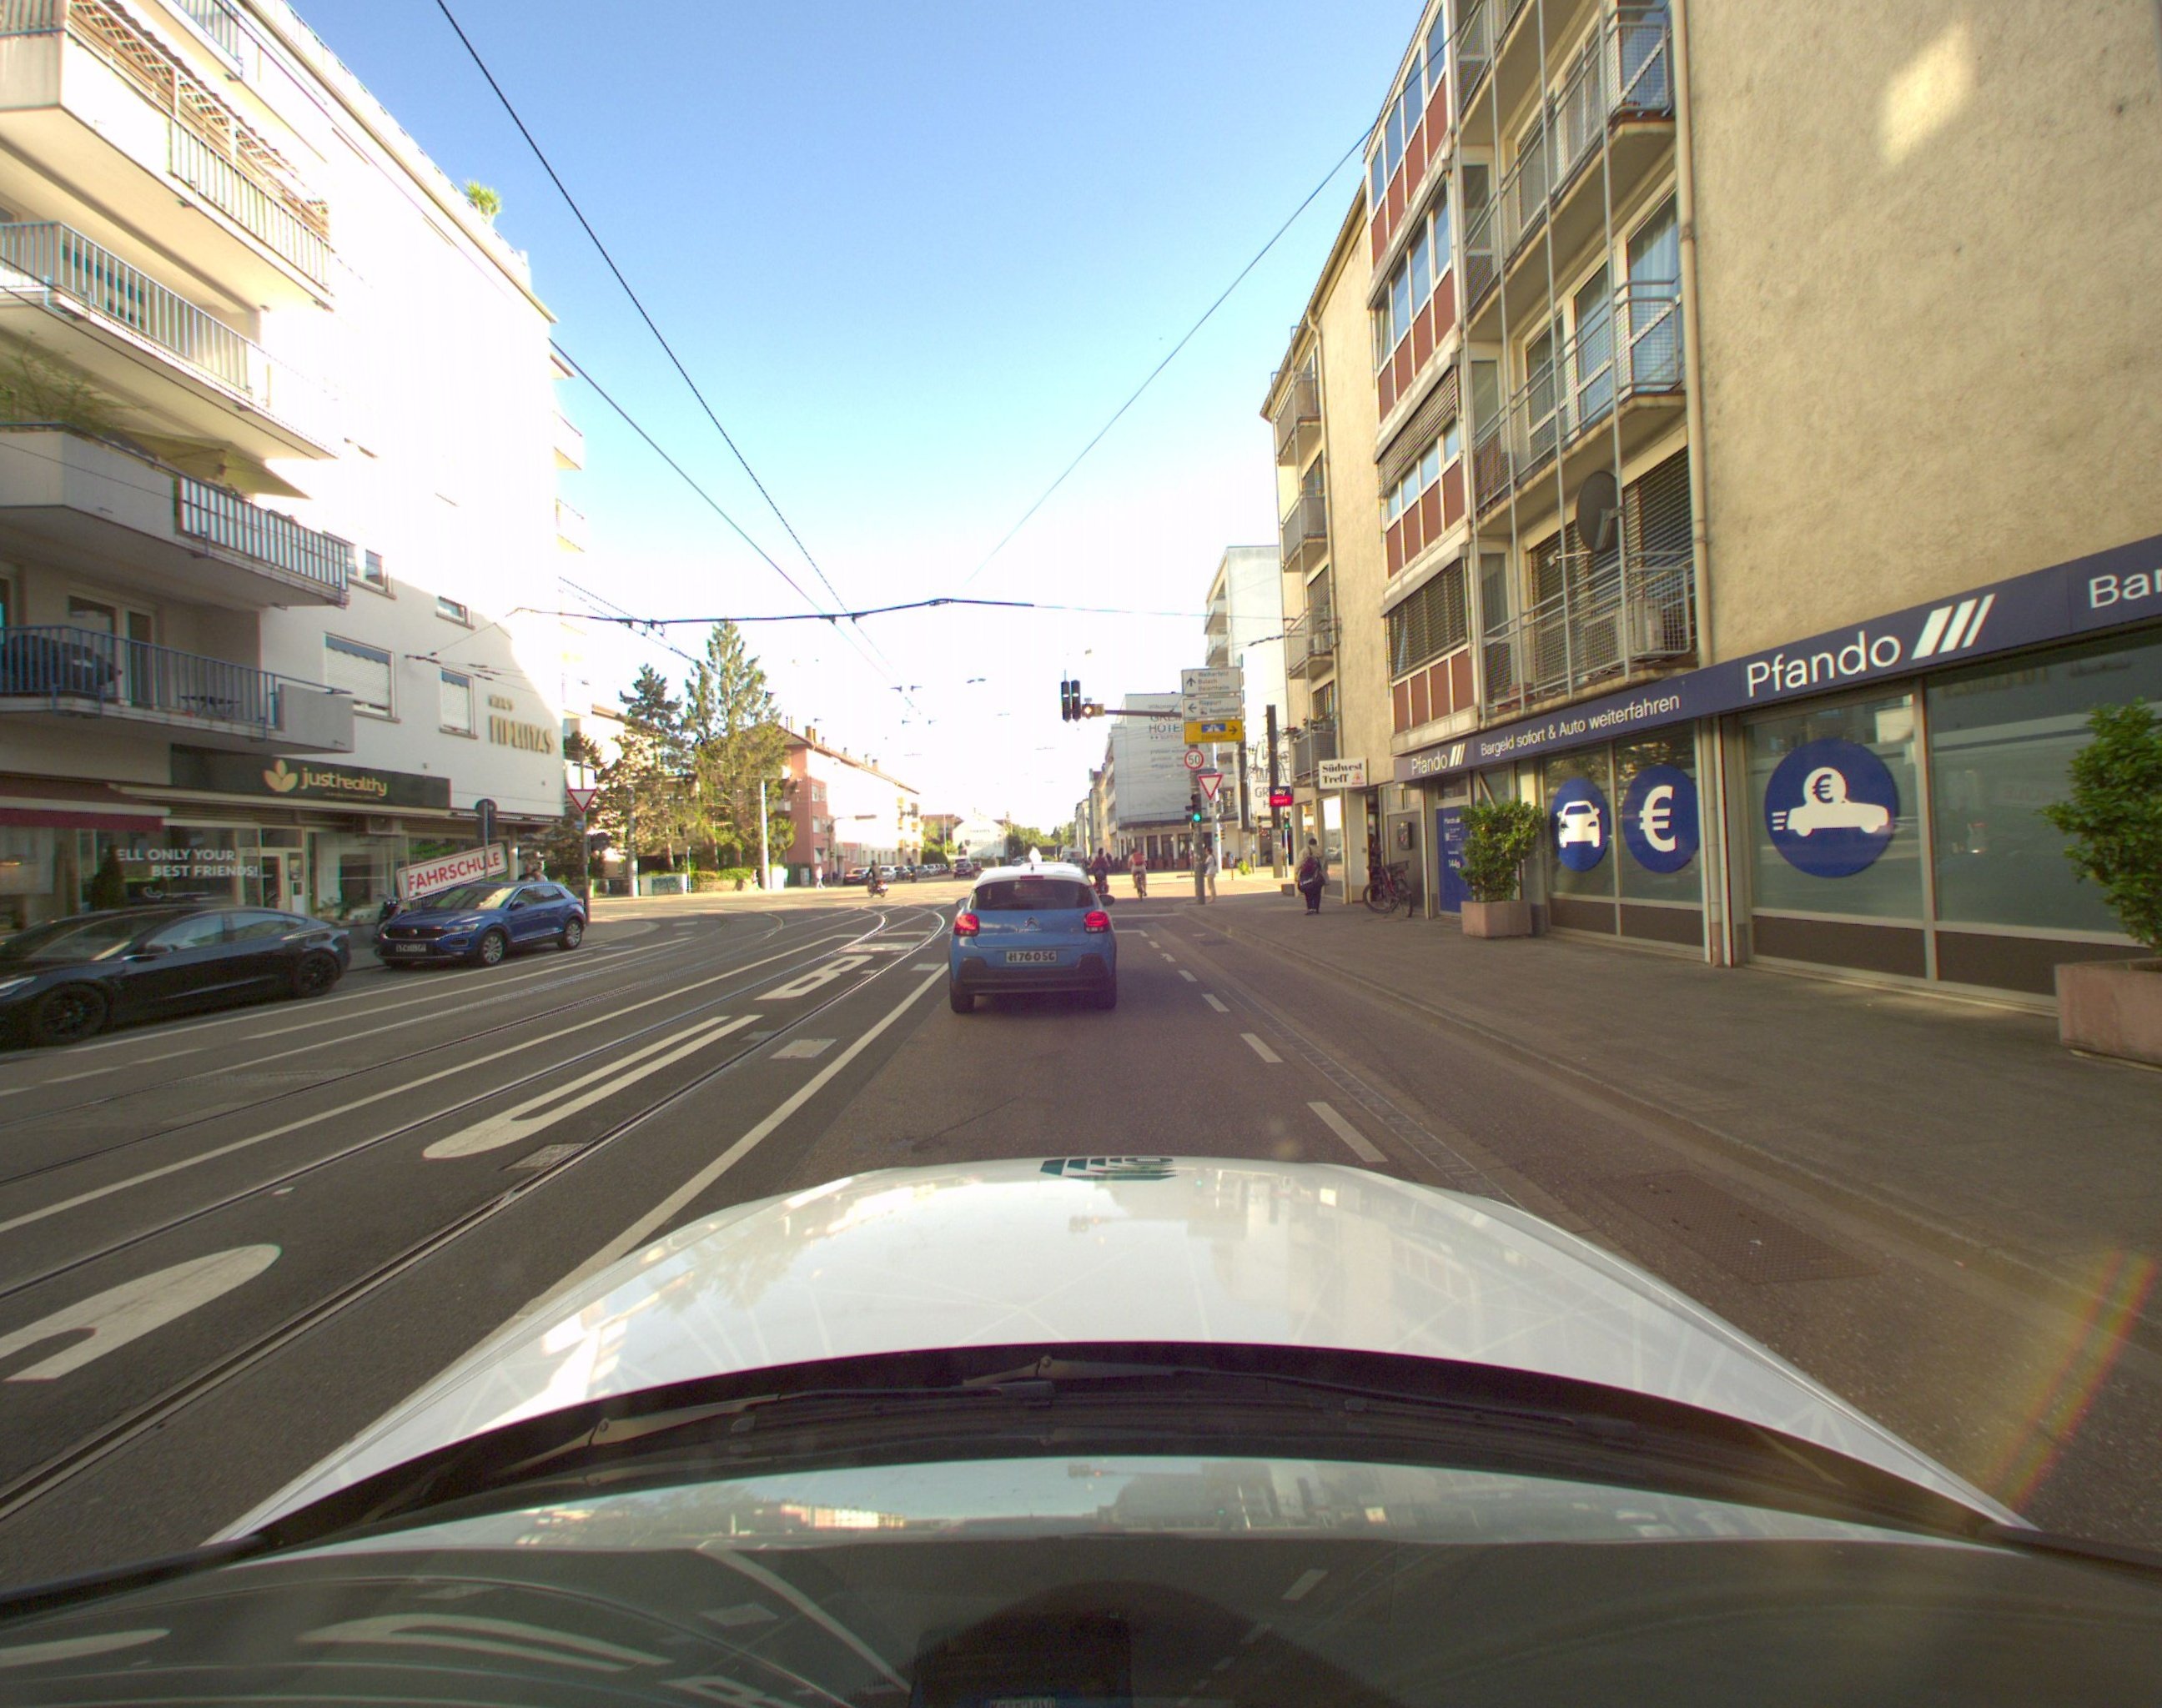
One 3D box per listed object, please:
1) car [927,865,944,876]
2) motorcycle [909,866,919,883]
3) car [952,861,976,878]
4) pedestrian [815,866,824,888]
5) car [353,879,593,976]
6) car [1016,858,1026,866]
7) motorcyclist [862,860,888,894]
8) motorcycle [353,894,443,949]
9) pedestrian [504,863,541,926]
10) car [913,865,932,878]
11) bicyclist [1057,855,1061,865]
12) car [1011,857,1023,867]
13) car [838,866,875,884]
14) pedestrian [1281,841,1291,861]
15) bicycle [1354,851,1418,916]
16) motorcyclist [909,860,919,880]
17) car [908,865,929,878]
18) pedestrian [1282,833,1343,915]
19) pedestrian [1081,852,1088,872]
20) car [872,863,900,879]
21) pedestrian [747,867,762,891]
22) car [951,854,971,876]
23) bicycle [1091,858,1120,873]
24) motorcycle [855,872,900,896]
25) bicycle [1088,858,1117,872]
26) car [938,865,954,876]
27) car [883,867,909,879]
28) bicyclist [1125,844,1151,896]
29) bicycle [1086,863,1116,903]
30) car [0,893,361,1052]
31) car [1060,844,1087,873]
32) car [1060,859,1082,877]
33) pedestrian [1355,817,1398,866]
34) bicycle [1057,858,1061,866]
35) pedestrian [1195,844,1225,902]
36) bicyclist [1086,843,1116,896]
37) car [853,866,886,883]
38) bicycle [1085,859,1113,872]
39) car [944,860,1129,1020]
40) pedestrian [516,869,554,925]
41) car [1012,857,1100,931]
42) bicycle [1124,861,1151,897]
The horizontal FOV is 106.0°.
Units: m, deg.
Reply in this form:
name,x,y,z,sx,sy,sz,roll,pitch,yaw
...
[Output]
name,x,y,z,sx,sy,sz,roll,pitch,yaw
car,-20.155,2.289,113.070,1.865,1.576,3.995,0,-1,-3
motorcycle,-13.052,1.612,63.786,0.712,1.220,1.957,-2,-2,-12
car,-10.934,1.425,76.514,1.775,1.486,3.824,-3,-1,-3
pedestrian,-19.604,1.721,61.077,0.516,1.568,0.572,0,-1,-7
car,-11.793,1.329,16.222,1.765,1.503,4.233,0,0,-3
car,-13.916,1.917,188.332,2.068,1.762,5.034,0,-1,-1
motorcyclist,-9.202,1.005,36.431,0.720,1.488,0.863,-1,-1,32
motorcycle,-15.783,1.542,18.885,0.605,1.134,1.795,0,-1,-1
pedestrian,-17.216,1.252,25.103,0.568,1.900,0.742,-2,-3,16
car,-20.057,2.184,103.240,1.865,1.576,3.995,0,-1,-3
bicyclist,-4.662,1.274,171.874,0.787,2.025,0.987,0,-1,3
car,-13.292,1.648,170.445,2.211,1.932,4.947,0,-1,-1
car,-19.120,1.813,69.588,2.149,1.432,4.435,0,-2,-3
pedestrian,16.362,-0.251,64.954,0.604,1.608,0.673,-1,-1,29
bicycle,5.795,0.540,15.566,0.495,1.161,1.776,-2,-1,-1
motorcyclist,-13.068,1.266,63.830,0.694,1.497,0.681,-2,-2,-12
car,-19.647,2.133,98.702,1.865,1.576,3.995,0,-1,-3
pedestrian,4.784,0.399,16.889,0.883,1.592,0.809,-5,0,-6
pedestrian,0.278,0.705,69.375,0.611,1.654,0.671,0,-1,0
car,-19.128,1.690,80.071,1.736,1.526,4.227,0,-1,-1
pedestrian,-23.602,1.791,58.834,0.695,1.722,0.789,-1,-1,35
car,-17.620,1.577,119.552,2.411,3.142,3.487,0,-1,-1
bicycle,2.002,0.918,65.761,2.246,1.001,0.855,-4,-1,-3
motorcycle,-9.084,1.312,36.353,1.917,1.047,0.863,-1,-1,32
bicycle,1.778,0.925,67.136,2.246,1.001,0.855,-4,-1,-3
car,-19.872,2.356,119.590,1.865,1.576,3.995,0,-1,-3
car,-19.639,1.997,86.644,1.942,1.239,4.279,0,-1,-2
bicyclist,1.909,0.529,27.244,0.807,1.692,0.937,0,-1,6
bicycle,0.638,0.911,26.285,0.937,1.223,2.095,0,-1,1
car,-11.968,1.321,10.304,1.763,1.475,4.443,0,-1,-1
car,-0.705,0.386,72.868,2.260,2.482,5.003,-1,-1,-3
car,-0.864,1.118,67.752,1.654,1.431,3.882,0,-1,-4
pedestrian,6.924,-0.293,19.066,0.627,1.087,0.672,-3,0,-35
bicycle,-4.659,1.623,171.867,0.787,1.670,2.232,0,-1,3
pedestrian,3.796,0.556,23.941,0.534,1.624,0.737,-7,-3,23
bicyclist,0.647,0.491,26.247,0.937,1.673,1.079,0,-1,1
car,-19.267,1.857,74.391,1.897,1.436,4.102,0,-1,0
bicycle,1.477,0.955,68.242,2.246,1.001,0.855,-4,-1,-3
car,-0.653,0.827,9.542,1.735,1.452,3.652,-1,-1,-8
pedestrian,-17.925,1.403,26.759,0.731,1.792,0.663,-2,0,5
car,-0.677,0.845,19.168,1.783,1.522,3.754,0,0,-6
bicycle,1.922,0.820,27.337,0.806,1.181,2.068,0,-1,7
